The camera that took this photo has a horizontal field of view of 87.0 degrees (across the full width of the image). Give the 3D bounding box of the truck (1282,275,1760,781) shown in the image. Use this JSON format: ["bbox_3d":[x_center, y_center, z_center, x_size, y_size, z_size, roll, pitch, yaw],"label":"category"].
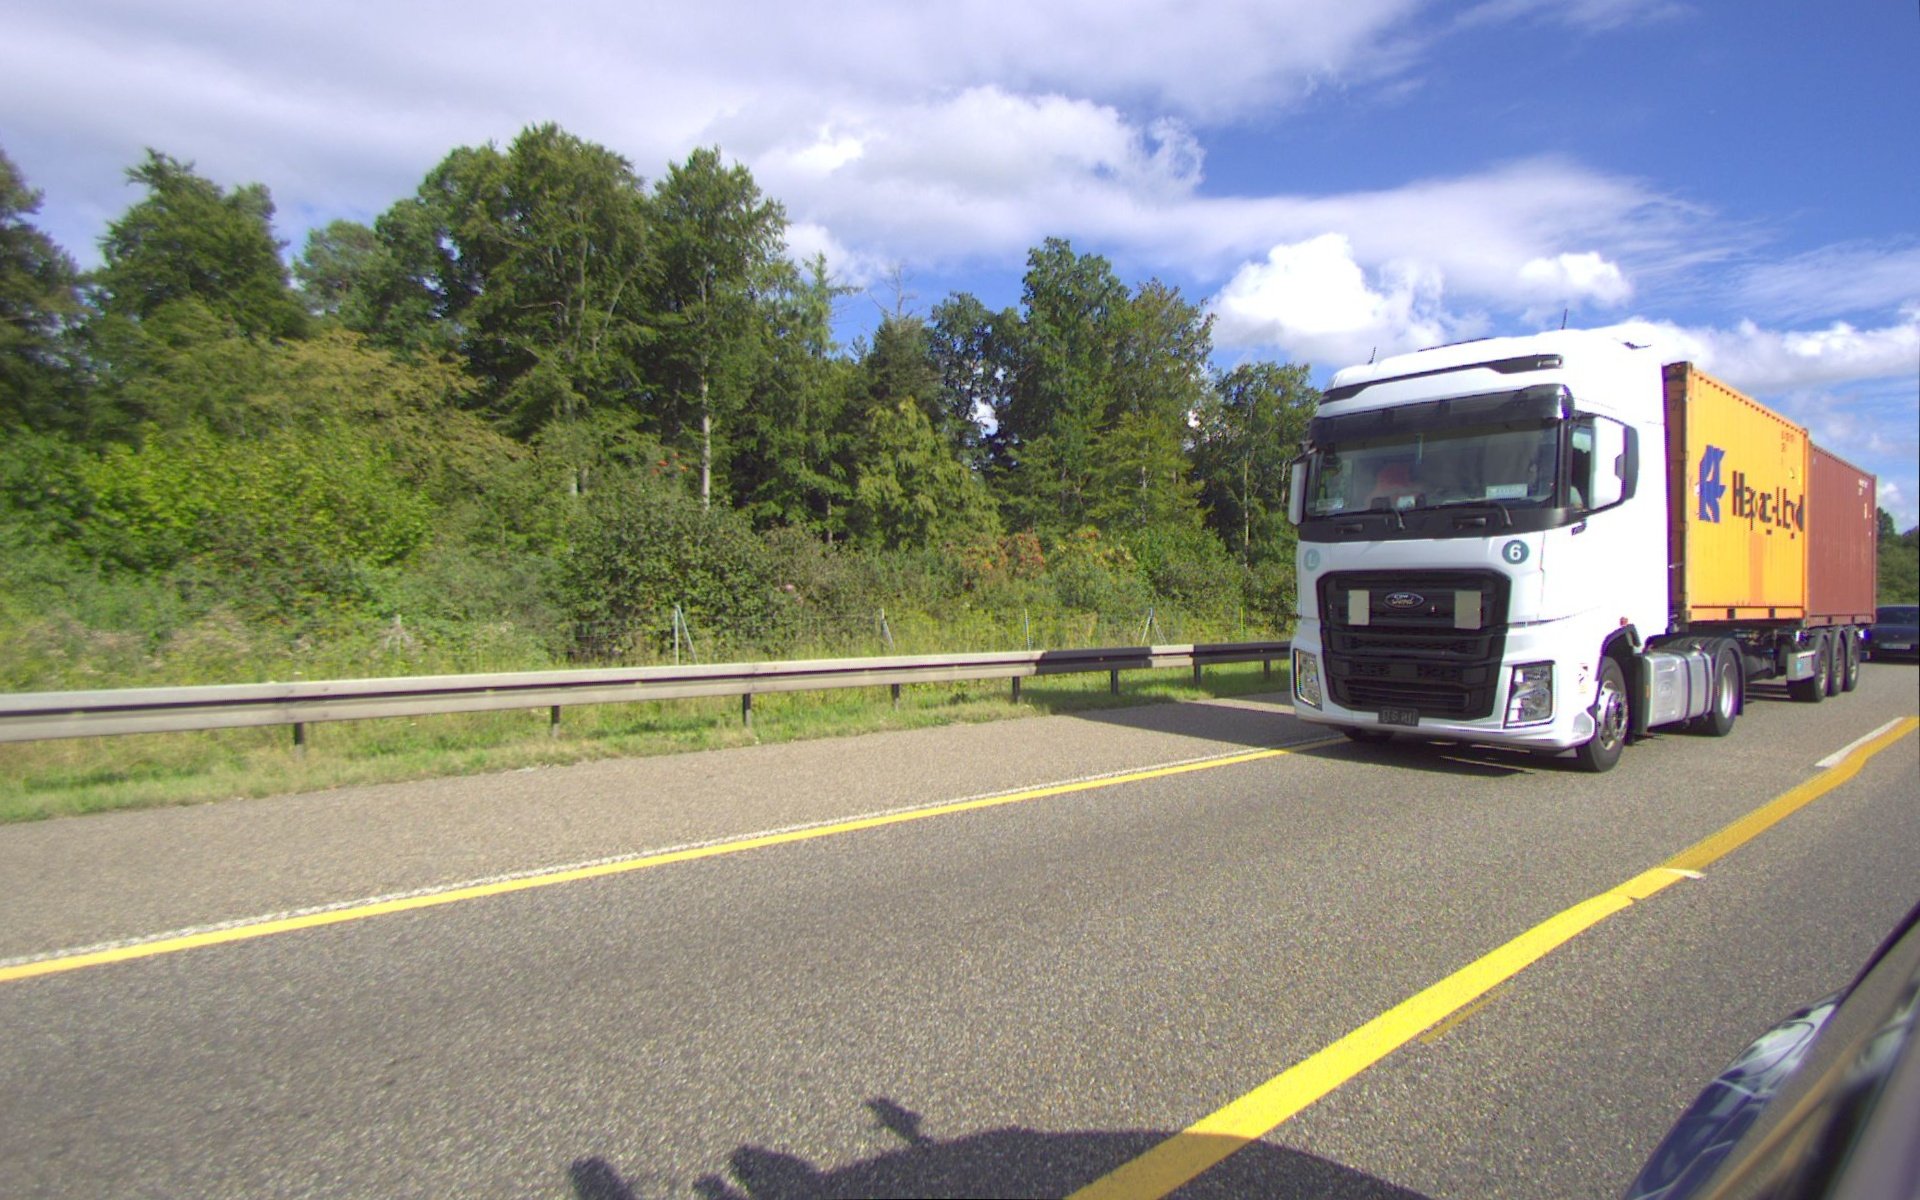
[{"bbox_3d":[6.010,-0.575,10.468,5.688,3.828,2.499,0,0,-40],"label":"truck"}]

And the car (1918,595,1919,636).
[{"bbox_3d":[37.102,0.569,37.633,3.898,1.498,1.761,-1,1,-41],"label":"car"}]

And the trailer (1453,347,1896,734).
[{"bbox_3d":[11.124,-0.614,14.849,11.922,3.822,2.476,0,0,-41],"label":"trailer"}]

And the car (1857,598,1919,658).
[{"bbox_3d":[23.776,0.651,24.941,4.399,1.367,1.932,0,0,-41],"label":"car"}]
